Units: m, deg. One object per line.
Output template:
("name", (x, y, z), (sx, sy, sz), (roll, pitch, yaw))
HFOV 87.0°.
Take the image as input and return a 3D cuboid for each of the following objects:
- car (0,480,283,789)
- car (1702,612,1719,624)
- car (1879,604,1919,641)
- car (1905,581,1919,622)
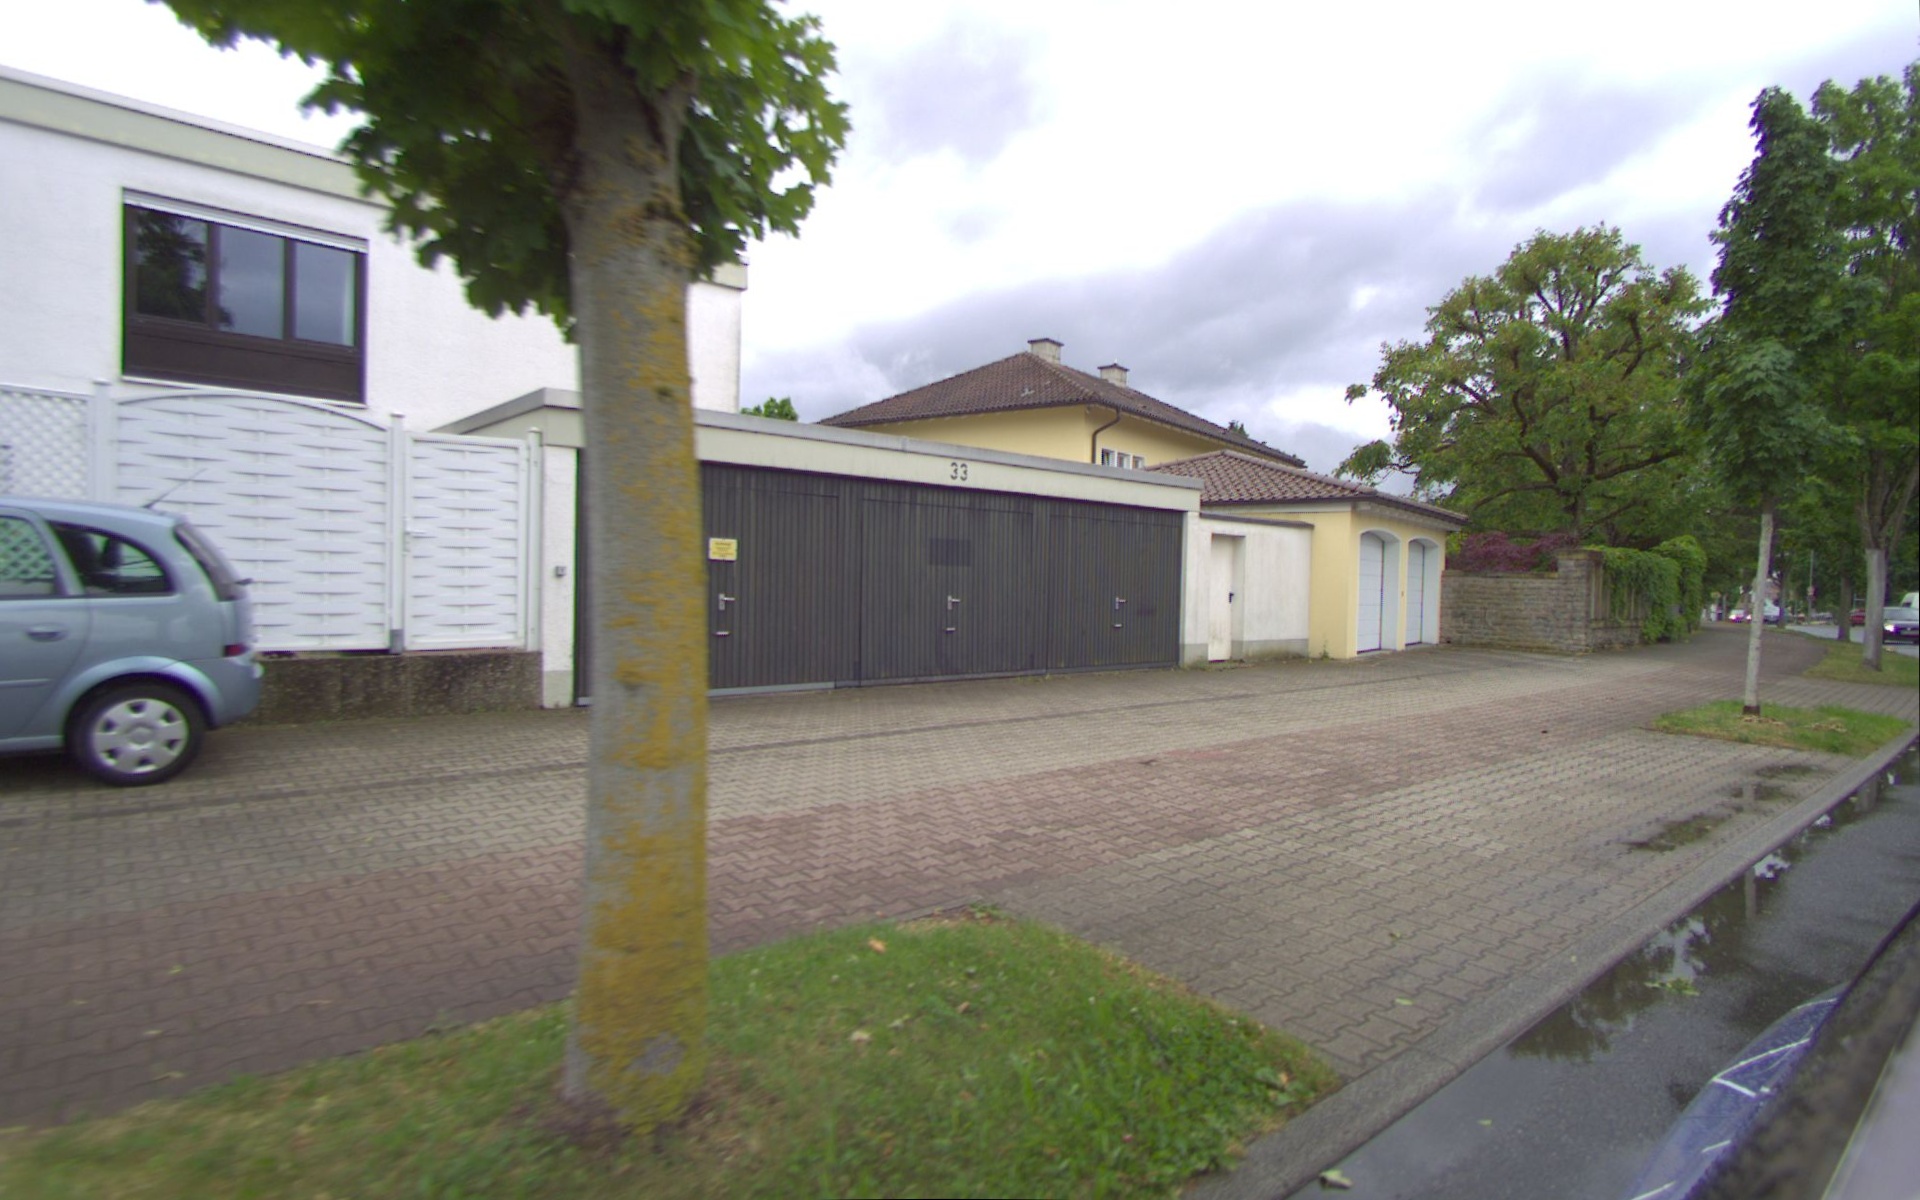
("car", (-6.152, 0.145, 5.532), (3.928, 1.630, 1.748), (0, 2, -40))
("car", (95.525, 2.338, 128.745), (1.639, 1.394, 3.776), (4, 1, 38))
("car", (38.999, 0.939, 41.393), (1.648, 1.471, 3.946), (0, -2, 36))
("car", (62.182, 0.107, 64.433), (1.986, 2.593, 5.170), (2, 0, 33))
